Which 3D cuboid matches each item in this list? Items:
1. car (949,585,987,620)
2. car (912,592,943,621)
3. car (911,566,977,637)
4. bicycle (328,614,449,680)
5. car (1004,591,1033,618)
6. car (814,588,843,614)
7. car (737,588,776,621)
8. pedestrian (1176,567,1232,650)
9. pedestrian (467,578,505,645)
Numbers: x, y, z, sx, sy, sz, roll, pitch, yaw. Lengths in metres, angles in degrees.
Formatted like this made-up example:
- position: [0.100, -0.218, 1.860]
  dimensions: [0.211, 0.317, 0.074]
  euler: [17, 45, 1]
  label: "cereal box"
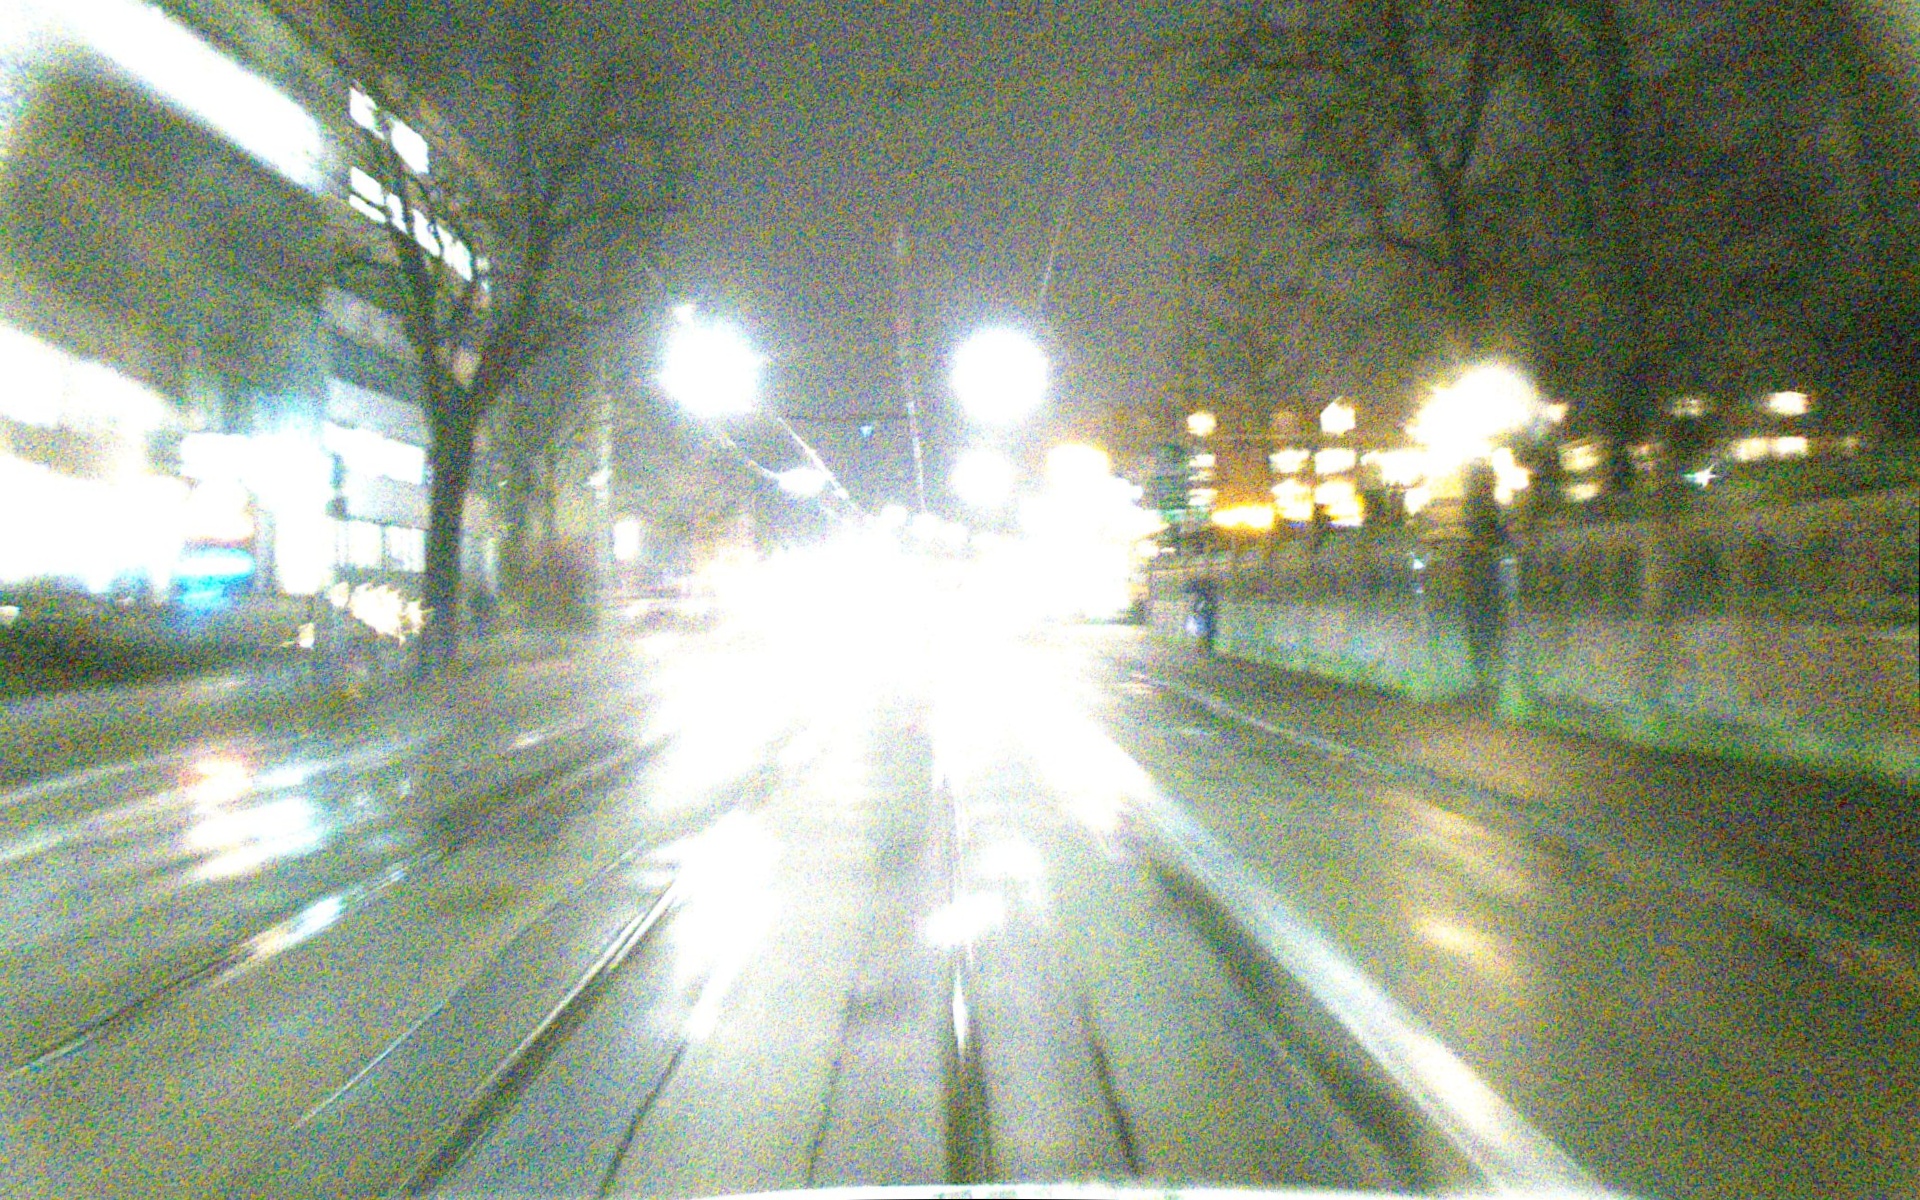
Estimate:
- position: [0.435, 0.111, 89.508]
  dimensions: [1.974, 1.847, 4.001]
  euler: [0, 0, 1]
  label: "car"
- position: [-2.142, 0.380, 107.771]
  dimensions: [1.953, 1.847, 3.999]
  euler: [0, 0, -2]
  label: "car"
- position: [-0.610, 0.042, 57.929]
  dimensions: [2.199, 2.402, 4.392]
  euler: [0, 0, -2]
  label: "car"
- position: [-9.645, 0.787, 27.946]
  dimensions: [1.816, 1.096, 0.627]
  euler: [0, 0, -1]
  label: "bicycle"
- position: [4.497, 0.337, 127.376]
  dimensions: [1.953, 2.049, 3.999]
  euler: [0, 0, -1]
  label: "car"
- position: [-8.980, 0.055, 113.456]
  dimensions: [1.954, 1.754, 4.073]
  euler: [0, 0, -4]
  label: "car"
- position: [-12.956, 0.283, 105.527]
  dimensions: [1.953, 2.049, 4.000]
  euler: [0, 0, 0]
  label: "car"
- position: [5.214, 0.174, 35.364]
  dimensions: [0.921, 1.692, 0.993]
  euler: [-3, 0, -5]
  label: "pedestrian"
- position: [-12.433, 0.296, 43.394]
  dimensions: [0.770, 1.716, 0.882]
  euler: [0, 0, -1]
  label: "pedestrian"
